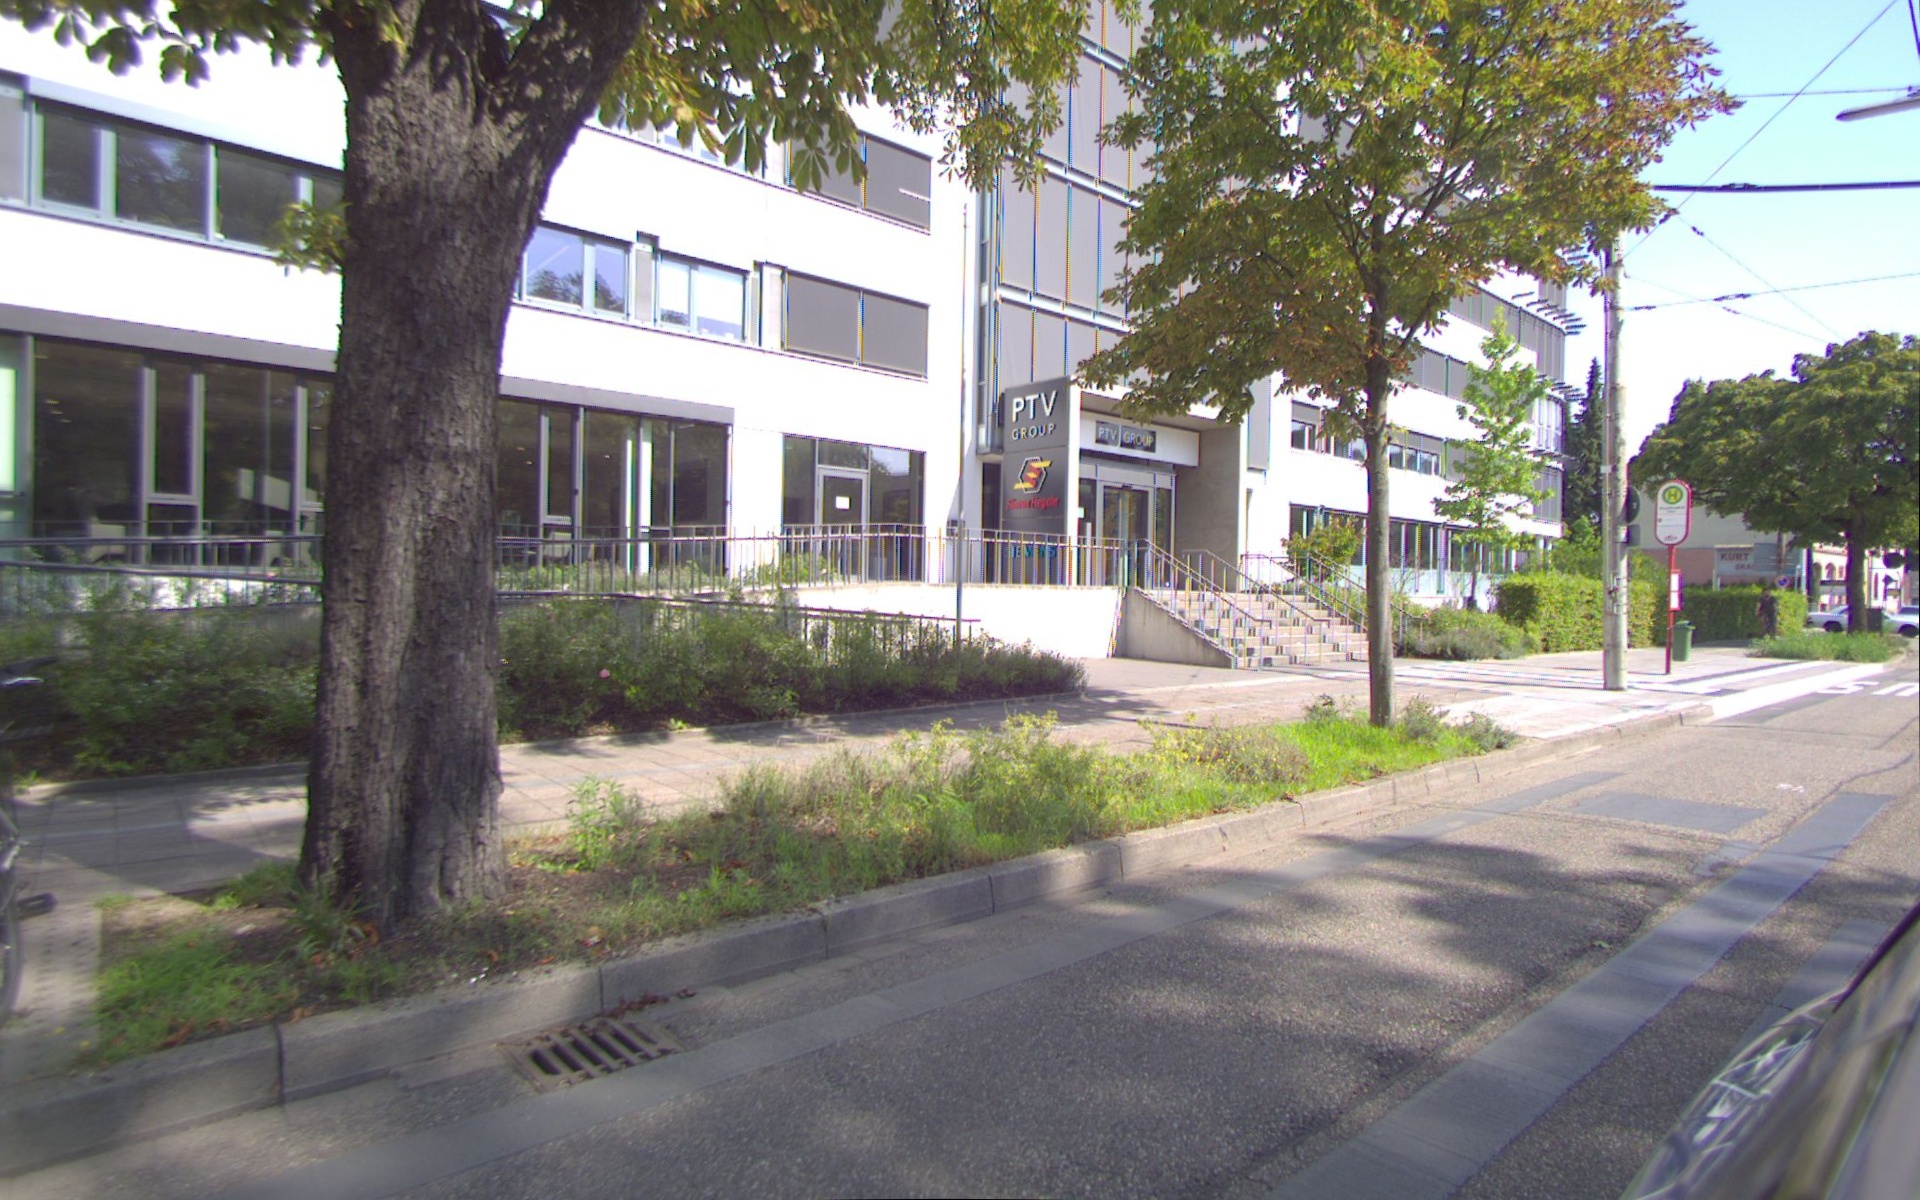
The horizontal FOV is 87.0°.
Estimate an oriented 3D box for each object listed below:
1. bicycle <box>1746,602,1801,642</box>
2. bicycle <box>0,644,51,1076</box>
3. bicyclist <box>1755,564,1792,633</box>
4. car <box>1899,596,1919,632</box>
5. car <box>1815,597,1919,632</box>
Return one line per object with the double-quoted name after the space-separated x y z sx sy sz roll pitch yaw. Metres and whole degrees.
24.725 0.641 30.735 1.135 1.139 2.497 1 1 43 "bicycle"
-3.411 0.757 3.363 0.531 1.085 1.774 1 2 -41 "bicycle"
24.626 -0.064 30.629 0.781 2.039 1.254 1 0 43 "bicyclist"
53.416 0.758 56.021 1.956 1.946 4.481 1 1 45 "car"
42.889 0.666 47.135 1.929 1.534 4.541 0 1 -45 "car"
